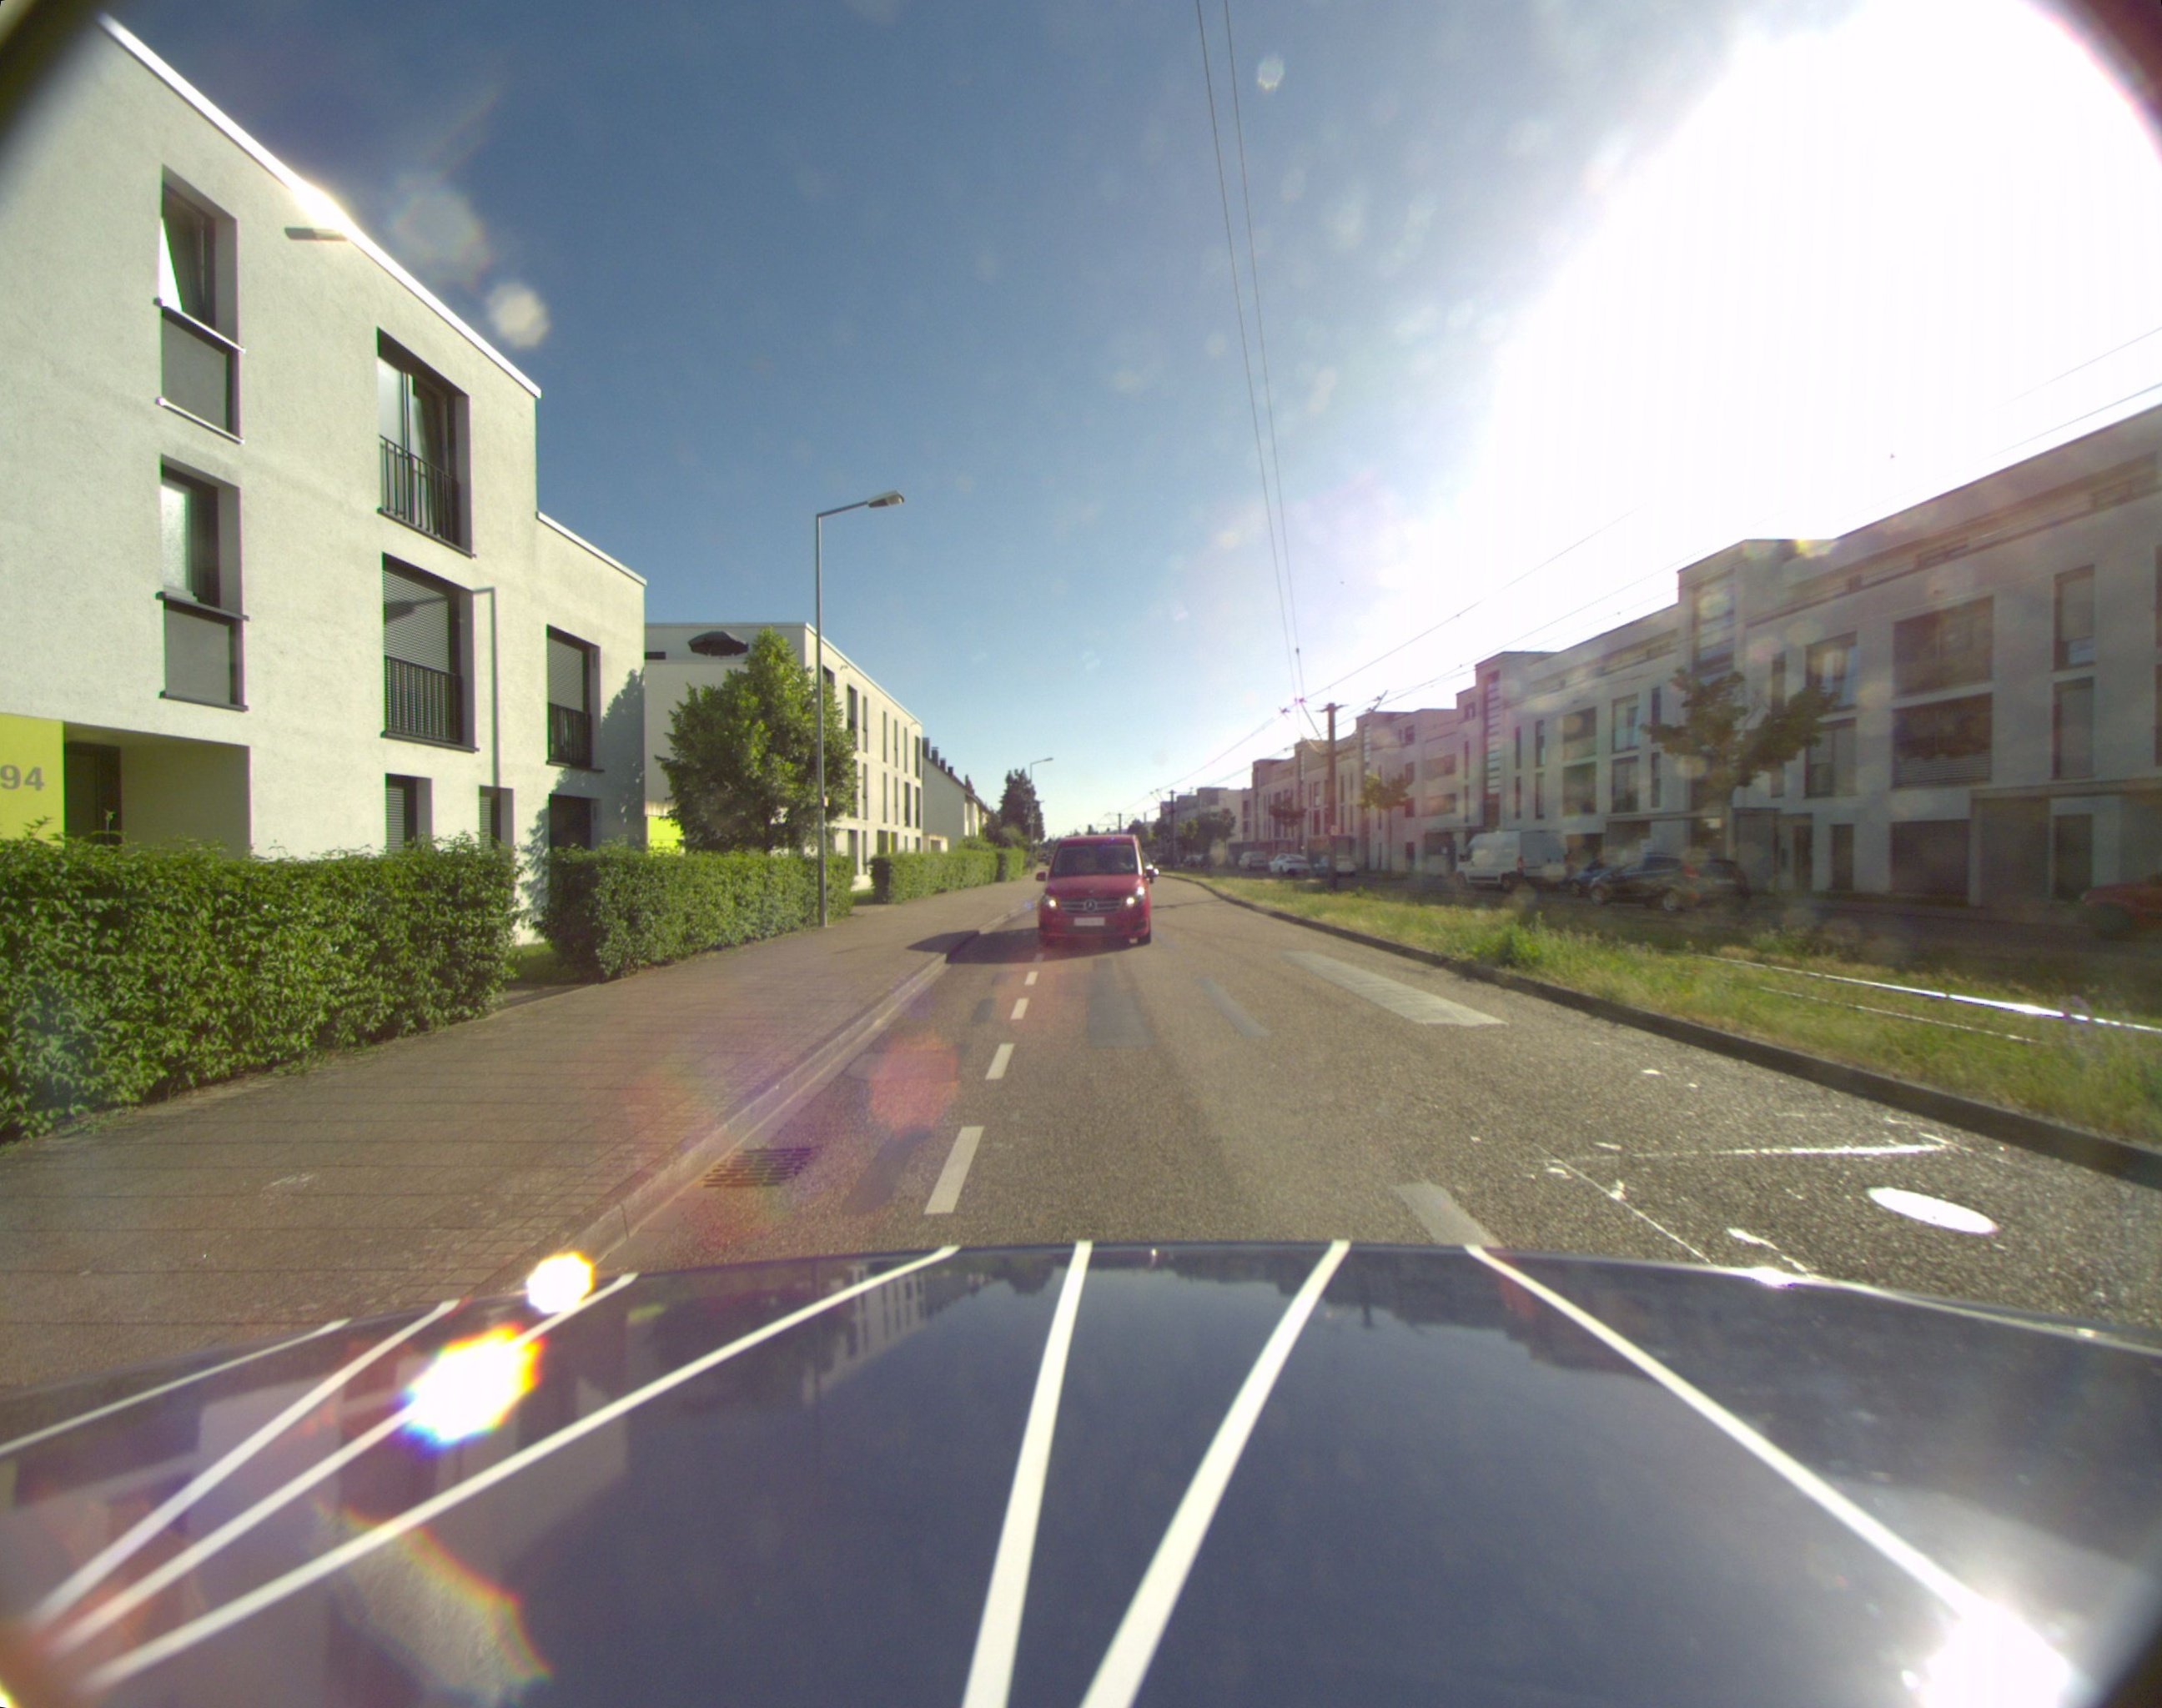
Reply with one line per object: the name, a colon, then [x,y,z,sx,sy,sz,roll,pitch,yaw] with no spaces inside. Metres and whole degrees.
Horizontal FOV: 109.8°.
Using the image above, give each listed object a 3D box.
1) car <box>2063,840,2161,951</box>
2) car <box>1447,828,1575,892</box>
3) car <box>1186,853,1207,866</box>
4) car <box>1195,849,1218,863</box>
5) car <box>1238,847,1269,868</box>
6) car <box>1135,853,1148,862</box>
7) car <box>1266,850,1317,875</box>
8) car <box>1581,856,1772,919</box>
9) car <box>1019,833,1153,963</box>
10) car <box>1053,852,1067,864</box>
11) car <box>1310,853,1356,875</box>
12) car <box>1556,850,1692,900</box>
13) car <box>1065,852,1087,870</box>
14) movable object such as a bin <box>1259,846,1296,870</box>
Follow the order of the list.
car: [18.556,0.659,11.712,1.885,1.785,3.837,-2,0,1]
car: [18.119,0.232,32.451,2.146,2.430,5.589,-2,0,-2]
car: [14.929,0.657,98.526,1.766,1.590,4.155,-2,0,-4]
car: [15.311,0.231,92.887,1.766,1.590,4.155,-2,0,-4]
car: [16.615,0.339,73.198,1.766,1.859,4.155,-2,0,-4]
car: [10.992,0.564,138.526,1.766,1.590,4.155,-2,0,-4]
car: [14.411,0.554,52.263,1.999,1.586,4.645,2,0,-2]
car: [15.025,0.773,19.497,1.792,1.410,4.000,1,0,1]
car: [0.266,0.674,14.294,1.979,1.922,5.206,-2,0,4]
car: [-2.665,0.544,97.326,1.700,1.466,4.013,2,0,0]
car: [17.489,0.663,52.870,1.521,1.423,4.155,-2,0,-4]
car: [18.238,0.652,25.751,1.829,1.528,3.842,-2,0,0]
car: [-0.432,0.597,64.502,1.700,1.466,4.013,2,0,0]
movable object such as a bin: [16.786,0.331,65.054,1.766,1.926,4.155,-2,0,-4]
